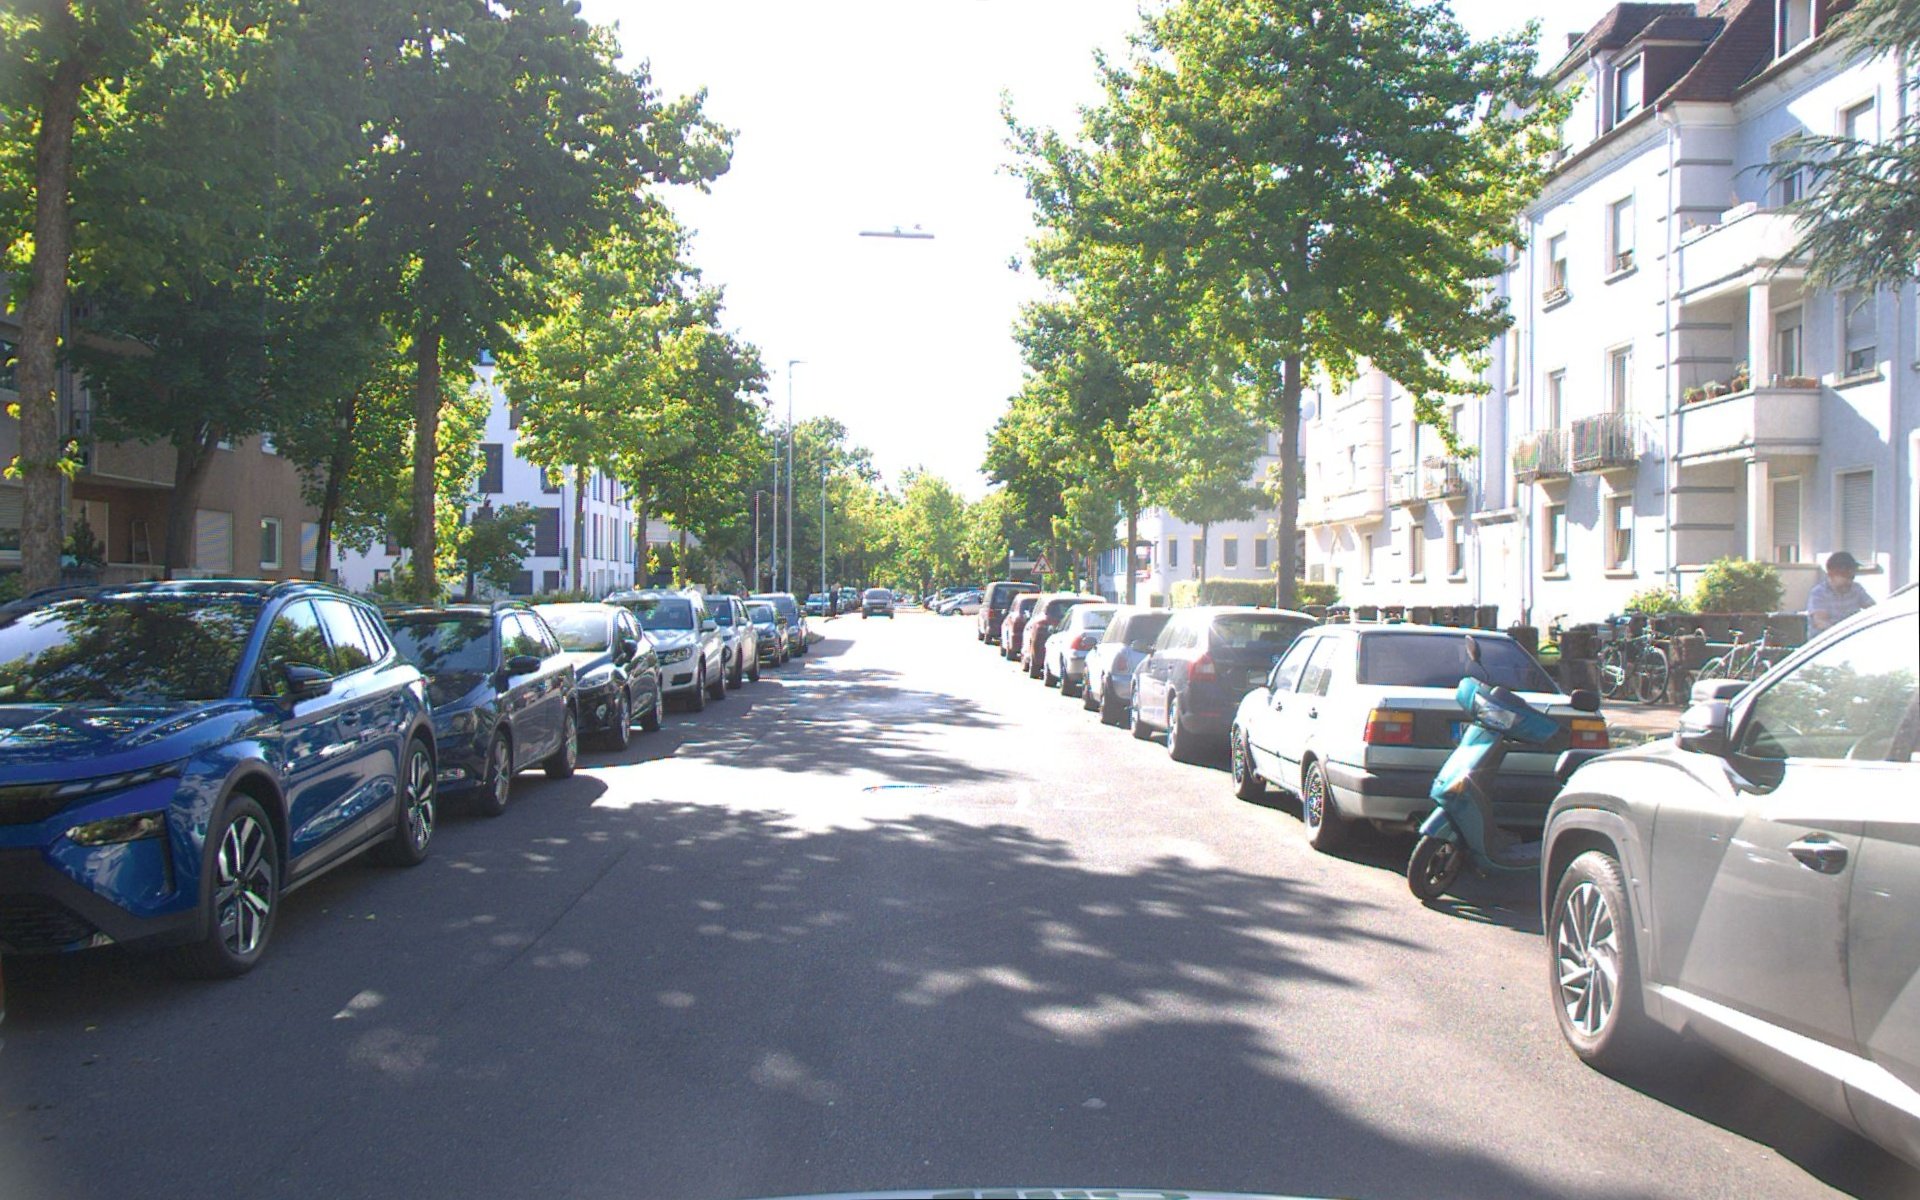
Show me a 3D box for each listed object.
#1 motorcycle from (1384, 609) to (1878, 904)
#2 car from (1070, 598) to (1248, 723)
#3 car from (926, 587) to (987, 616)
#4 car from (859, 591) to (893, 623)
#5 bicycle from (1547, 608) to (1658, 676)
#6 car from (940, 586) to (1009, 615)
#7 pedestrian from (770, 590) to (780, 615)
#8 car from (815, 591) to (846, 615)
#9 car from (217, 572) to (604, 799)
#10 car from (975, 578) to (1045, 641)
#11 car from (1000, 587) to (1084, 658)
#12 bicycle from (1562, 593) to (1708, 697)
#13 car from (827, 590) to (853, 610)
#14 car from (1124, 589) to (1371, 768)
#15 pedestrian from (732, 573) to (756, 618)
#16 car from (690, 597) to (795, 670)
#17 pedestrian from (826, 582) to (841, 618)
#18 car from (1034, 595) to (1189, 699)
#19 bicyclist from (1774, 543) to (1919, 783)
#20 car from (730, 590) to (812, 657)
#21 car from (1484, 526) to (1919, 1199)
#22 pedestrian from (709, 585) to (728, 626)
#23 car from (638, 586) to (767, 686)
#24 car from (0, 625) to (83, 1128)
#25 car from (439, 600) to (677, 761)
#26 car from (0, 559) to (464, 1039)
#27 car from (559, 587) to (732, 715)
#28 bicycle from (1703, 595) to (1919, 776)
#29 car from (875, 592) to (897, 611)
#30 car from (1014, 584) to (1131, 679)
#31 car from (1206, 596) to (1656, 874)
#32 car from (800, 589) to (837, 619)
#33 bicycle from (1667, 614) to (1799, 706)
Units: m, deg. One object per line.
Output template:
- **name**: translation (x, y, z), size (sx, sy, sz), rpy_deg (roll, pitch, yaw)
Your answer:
- **motorcycle**: translation (3.430, 0.774, 8.563), size (2.304, 1.447, 0.687), rpy_deg (0, 0, -3)
- **car**: translation (2.540, 0.730, 21.953), size (1.752, 1.478, 3.780), rpy_deg (1, 0, -2)
- **car**: translation (-0.229, 0.081, 109.078), size (3.909, 1.862, 1.998), rpy_deg (0, 0, -5)
- **car**: translation (-4.433, 0.348, 87.521), size (1.747, 1.637, 3.998), rpy_deg (0, 0, -3)
- **bicycle**: translation (10.230, 0.665, 26.365), size (1.547, 0.988, 0.501), rpy_deg (-3, 0, -2)
- **car**: translation (0.840, 0.018, 96.576), size (3.910, 1.615, 1.725), rpy_deg (0, 0, -6)
- **pedestrian**: translation (-14.237, 0.176, 127.057), size (0.747, 1.934, 0.817), rpy_deg (0, 0, -8)
- **car**: translation (-8.819, 0.173, 113.045), size (1.953, 1.613, 3.999), rpy_deg (0, 0, -2)
- **car**: translation (-4.108, 0.561, 13.102), size (1.793, 1.478, 4.120), rpy_deg (-1, 0, -2)
- **car**: translation (1.583, 0.293, 54.239), size (1.931, 1.983, 4.983), rpy_deg (0, 0, -3)
- **car**: translation (2.030, 0.527, 42.025), size (1.797, 1.628, 4.157), rpy_deg (2, 0, -1)
- **bicycle**: translation (8.726, 0.551, 21.491), size (0.822, 1.279, 2.229), rpy_deg (1, 0, -5)
- **car**: translation (-9.778, 0.011, 134.805), size (1.953, 1.613, 3.999), rpy_deg (0, 0, -2)
- **car**: translation (2.827, 0.700, 17.224), size (1.658, 1.567, 4.440), rpy_deg (1, 1, -2)
- **pedestrian**: translation (-9.883, -0.199, 75.684), size (0.841, 2.049, 0.982), rpy_deg (0, 0, 6)
- **car**: translation (-4.887, 0.721, 37.677), size (1.954, 1.478, 4.260), rpy_deg (-2, 0, -3)
- **pedestrian**: translation (-6.955, 0.006, 90.877), size (0.702, 1.933, 0.834), rpy_deg (0, 0, -12)
- **car**: translation (2.432, 0.730, 27.745), size (1.859, 1.500, 4.696), rpy_deg (3, 0, -3)
- **bicyclist**: translation (6.390, 0.427, 11.801), size (0.664, 1.638, 0.921), rpy_deg (0, 0, -5)
- **car**: translation (-4.945, 0.592, 43.747), size (1.803, 1.623, 4.260), rpy_deg (-2, 0, -3)
- **car**: translation (3.072, 0.703, 4.070), size (1.886, 1.680, 5.094), rpy_deg (2, 0, 0)
- **pedestrian**: translation (-12.377, 0.276, 84.791), size (0.842, 2.049, 0.980), rpy_deg (0, 0, -4)
- **car**: translation (-4.442, 0.586, 28.978), size (1.675, 1.571, 3.929), rpy_deg (-2, 0, -1)
- **car**: translation (-3.543, 0.816, 2.931), size (1.743, 1.403, 4.261), rpy_deg (-2, 0, -1)
- **car**: translation (-4.199, 0.770, 17.864), size (1.727, 1.469, 3.907), rpy_deg (-2, 0, -3)
- **car**: translation (-3.745, 0.693, 7.770), size (1.754, 1.594, 4.461), rpy_deg (-3, 0, -5)
- **car**: translation (-4.335, 0.646, 23.384), size (1.775, 1.624, 4.231), rpy_deg (-1, 0, -2)
- **bicycle**: translation (6.366, 0.553, 12.026), size (0.670, 1.173, 2.400), rpy_deg (0, 0, -5)
- **car**: translation (-6.288, 0.090, 140.223), size (1.857, 1.588, 3.998), rpy_deg (0, 0, -2)
- **car**: translation (2.229, 0.586, 33.782), size (1.869, 1.728, 4.312), rpy_deg (3, 0, -2)
- **car**: translation (3.002, 0.760, 11.587), size (1.715, 1.479, 4.460), rpy_deg (2, 0, -2)
- **car**: translation (-8.351, 0.225, 97.770), size (1.953, 1.700, 3.999), rpy_deg (0, 0, -2)
- **bicycle**: translation (8.887, 0.663, 19.096), size (0.583, 0.974, 1.903), rpy_deg (-1, 0, -2)
